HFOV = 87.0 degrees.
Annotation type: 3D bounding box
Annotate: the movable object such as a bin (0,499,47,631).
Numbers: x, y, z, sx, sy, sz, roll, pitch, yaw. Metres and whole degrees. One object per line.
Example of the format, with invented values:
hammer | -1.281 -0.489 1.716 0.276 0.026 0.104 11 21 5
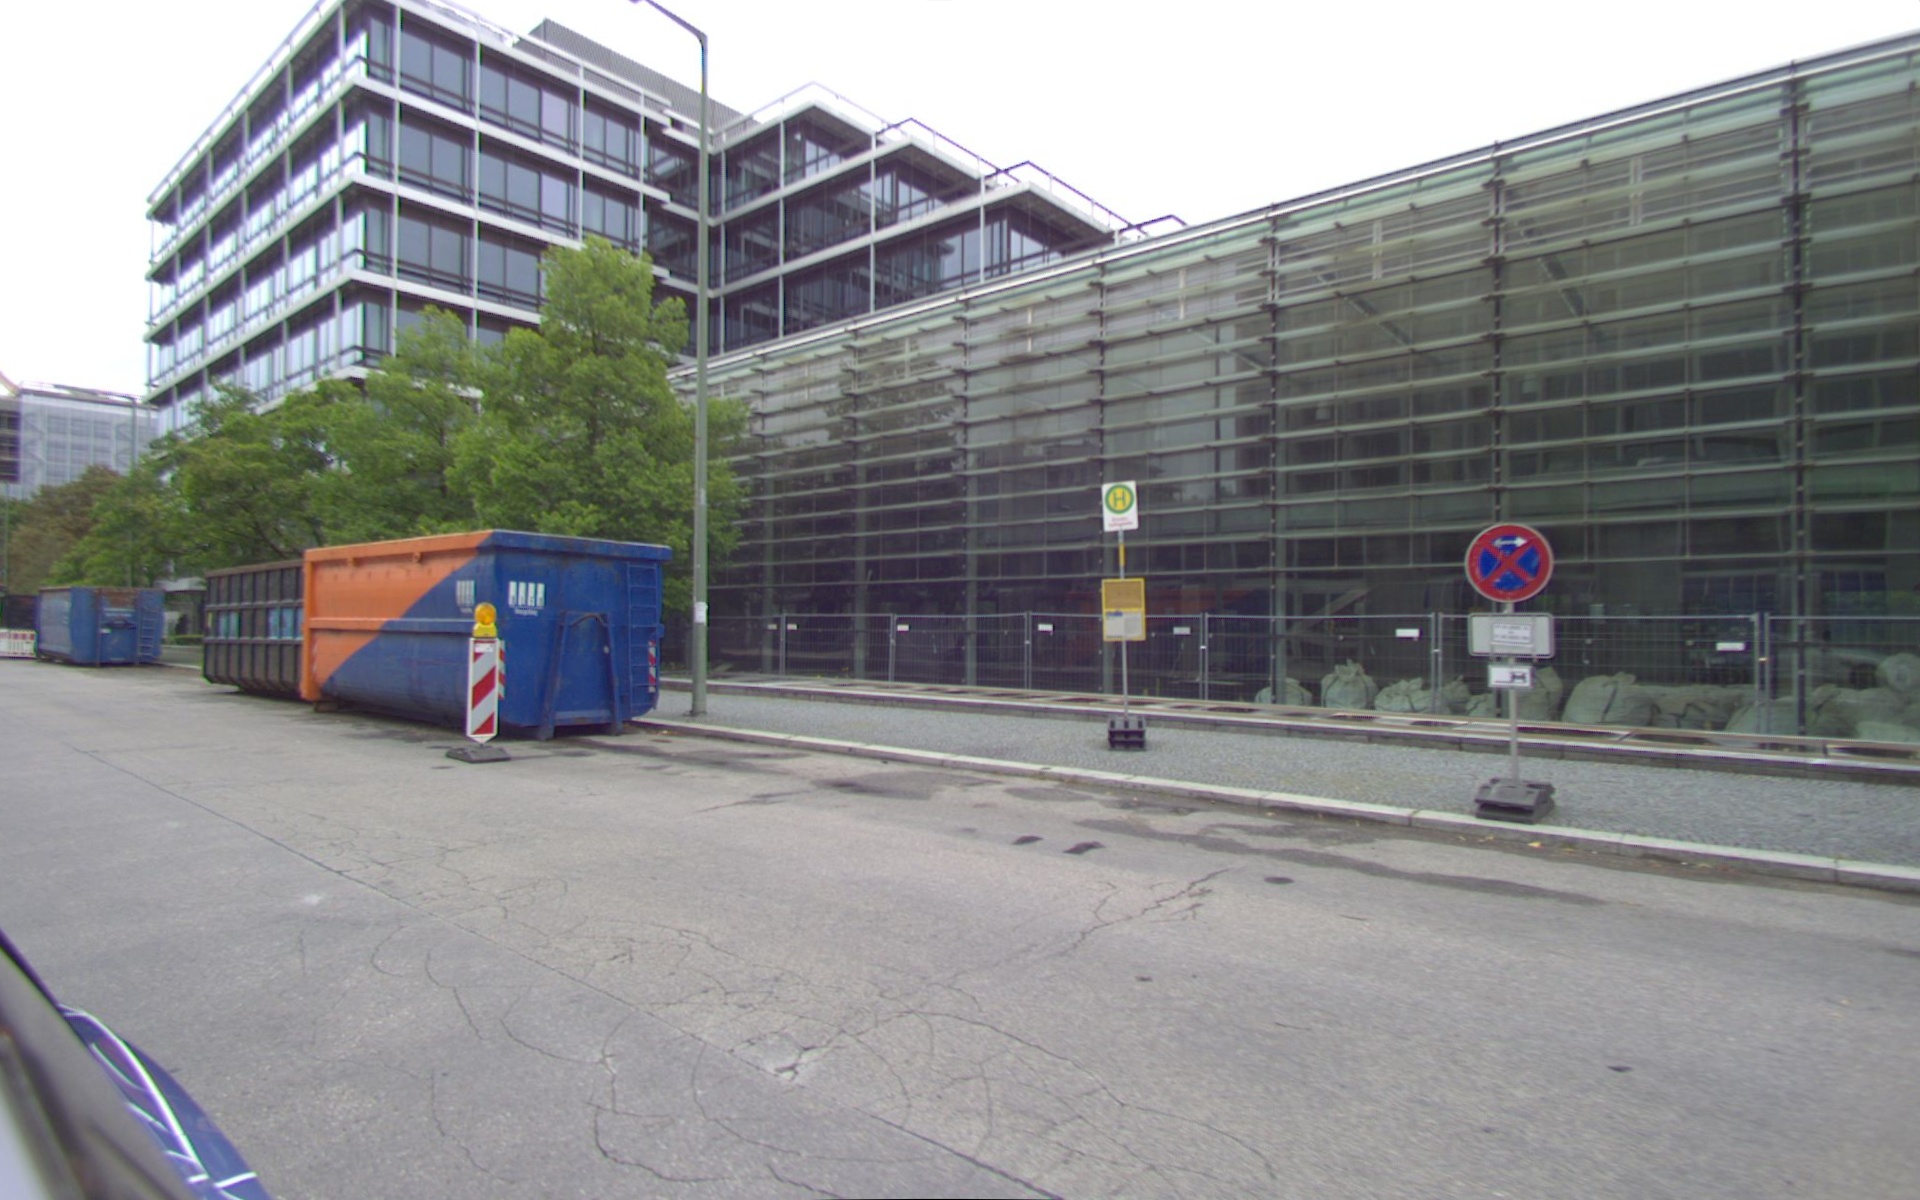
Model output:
movable object such as a bin | -52.288 -1.683 54.563 11.775 6.614 2.874 -1 -2 40
